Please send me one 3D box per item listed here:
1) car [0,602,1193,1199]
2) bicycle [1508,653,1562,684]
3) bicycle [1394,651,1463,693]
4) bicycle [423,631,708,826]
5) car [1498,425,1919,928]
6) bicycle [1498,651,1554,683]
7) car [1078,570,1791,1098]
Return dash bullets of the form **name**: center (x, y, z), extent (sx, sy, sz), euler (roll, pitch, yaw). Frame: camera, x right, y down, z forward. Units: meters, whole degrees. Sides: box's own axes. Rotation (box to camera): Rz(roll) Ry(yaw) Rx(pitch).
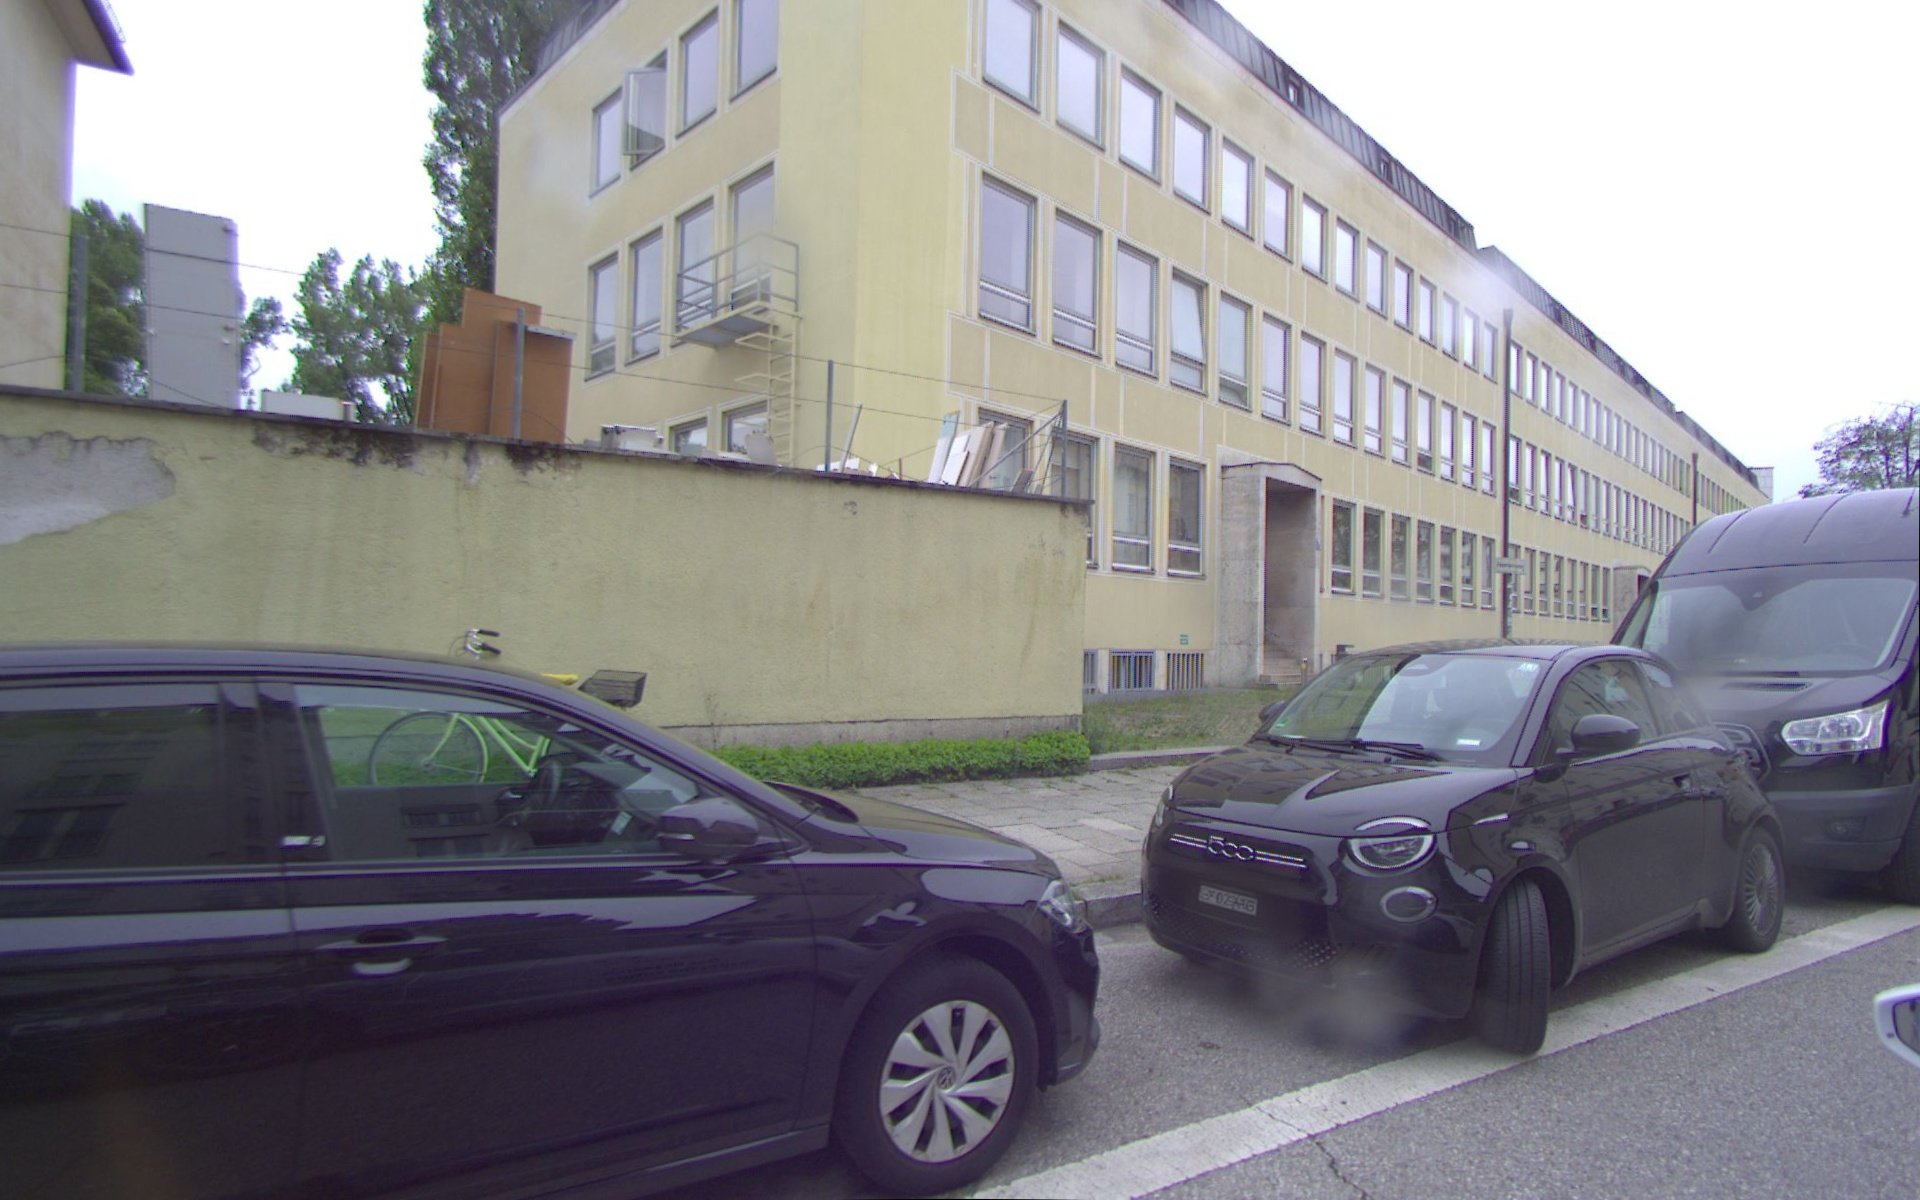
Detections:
- **car**: center (-1.336, 0.771, 2.736), extent (3.784, 1.465, 1.691), euler (2, -2, -33)
- **bicycle**: center (19.161, 2.280, 33.469), extent (1.511, 0.967, 0.364), euler (0, -2, 44)
- **bicycle**: center (11.723, 1.794, 25.162), extent (1.511, 0.967, 0.364), euler (0, -2, 44)
- **bicycle**: center (-2.740, 0.851, 7.035), extent (1.756, 1.208, 0.674), euler (3, -2, -29)
- **car**: center (6.648, 0.522, 7.559), extent (5.311, 2.670, 2.079), euler (2, -2, -29)
- **bicycle**: center (18.214, 2.149, 32.323), extent (1.511, 0.967, 0.364), euler (0, -2, 44)
- **car**: center (2.363, 0.868, 4.711), extent (3.512, 1.557, 1.574), euler (5, -7, -37)
